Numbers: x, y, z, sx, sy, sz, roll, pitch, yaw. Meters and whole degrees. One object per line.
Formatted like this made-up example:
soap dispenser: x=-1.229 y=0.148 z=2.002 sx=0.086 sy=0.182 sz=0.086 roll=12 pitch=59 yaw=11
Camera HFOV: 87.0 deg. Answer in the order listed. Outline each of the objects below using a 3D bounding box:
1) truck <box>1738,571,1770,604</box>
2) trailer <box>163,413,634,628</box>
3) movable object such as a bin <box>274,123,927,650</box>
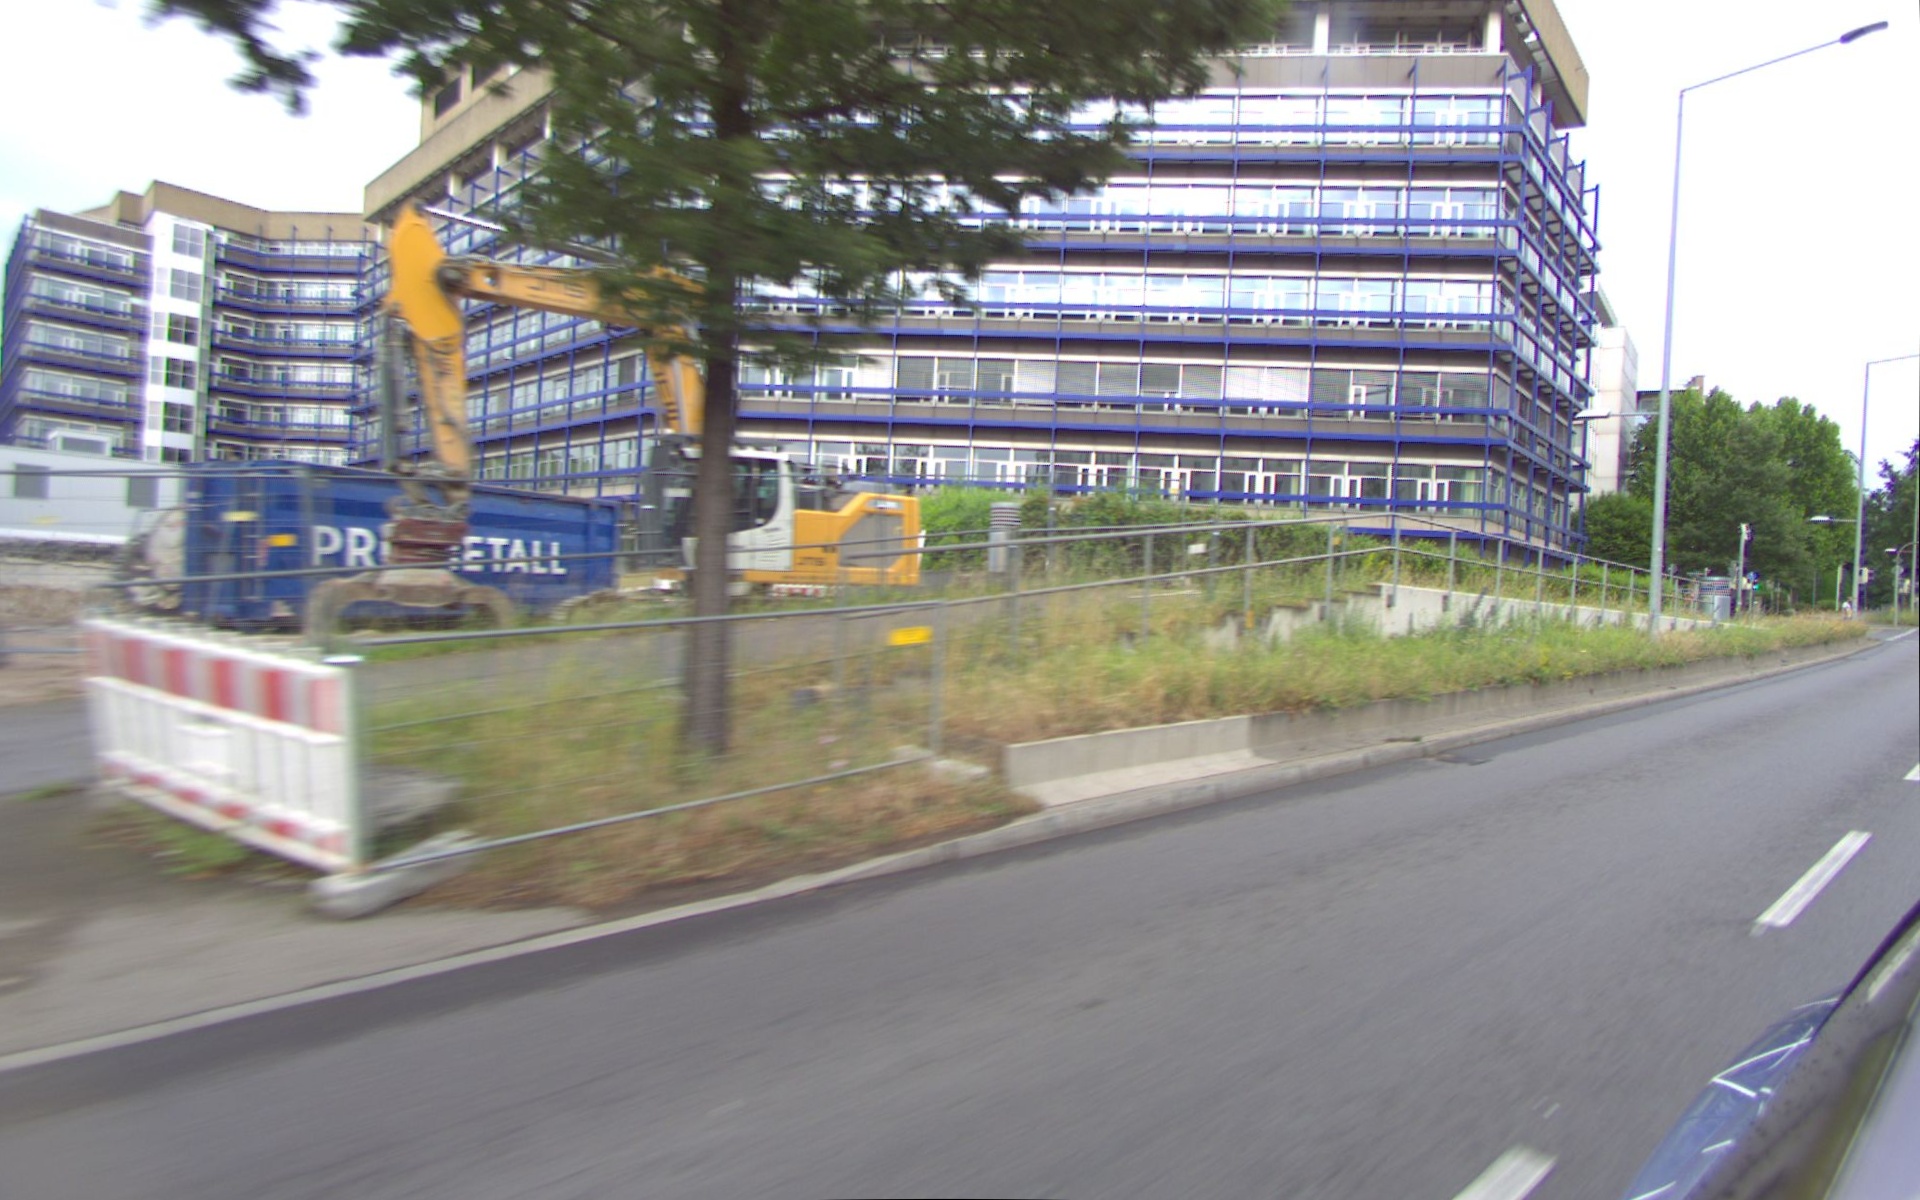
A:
truck: x=64.029 y=-0.995 z=81.577 sx=1.745 sy=2.549 sz=3.938 roll=0 pitch=1 yaw=43
trailer: x=-9.590 y=-1.186 z=18.462 sx=2.618 sy=3.081 sz=7.436 roll=0 pitch=1 yaw=25
movable object such as a bin: x=-4.874 y=-2.398 z=15.123 sx=8.610 sy=5.756 sz=3.296 roll=-1 pitch=0 yaw=-41
